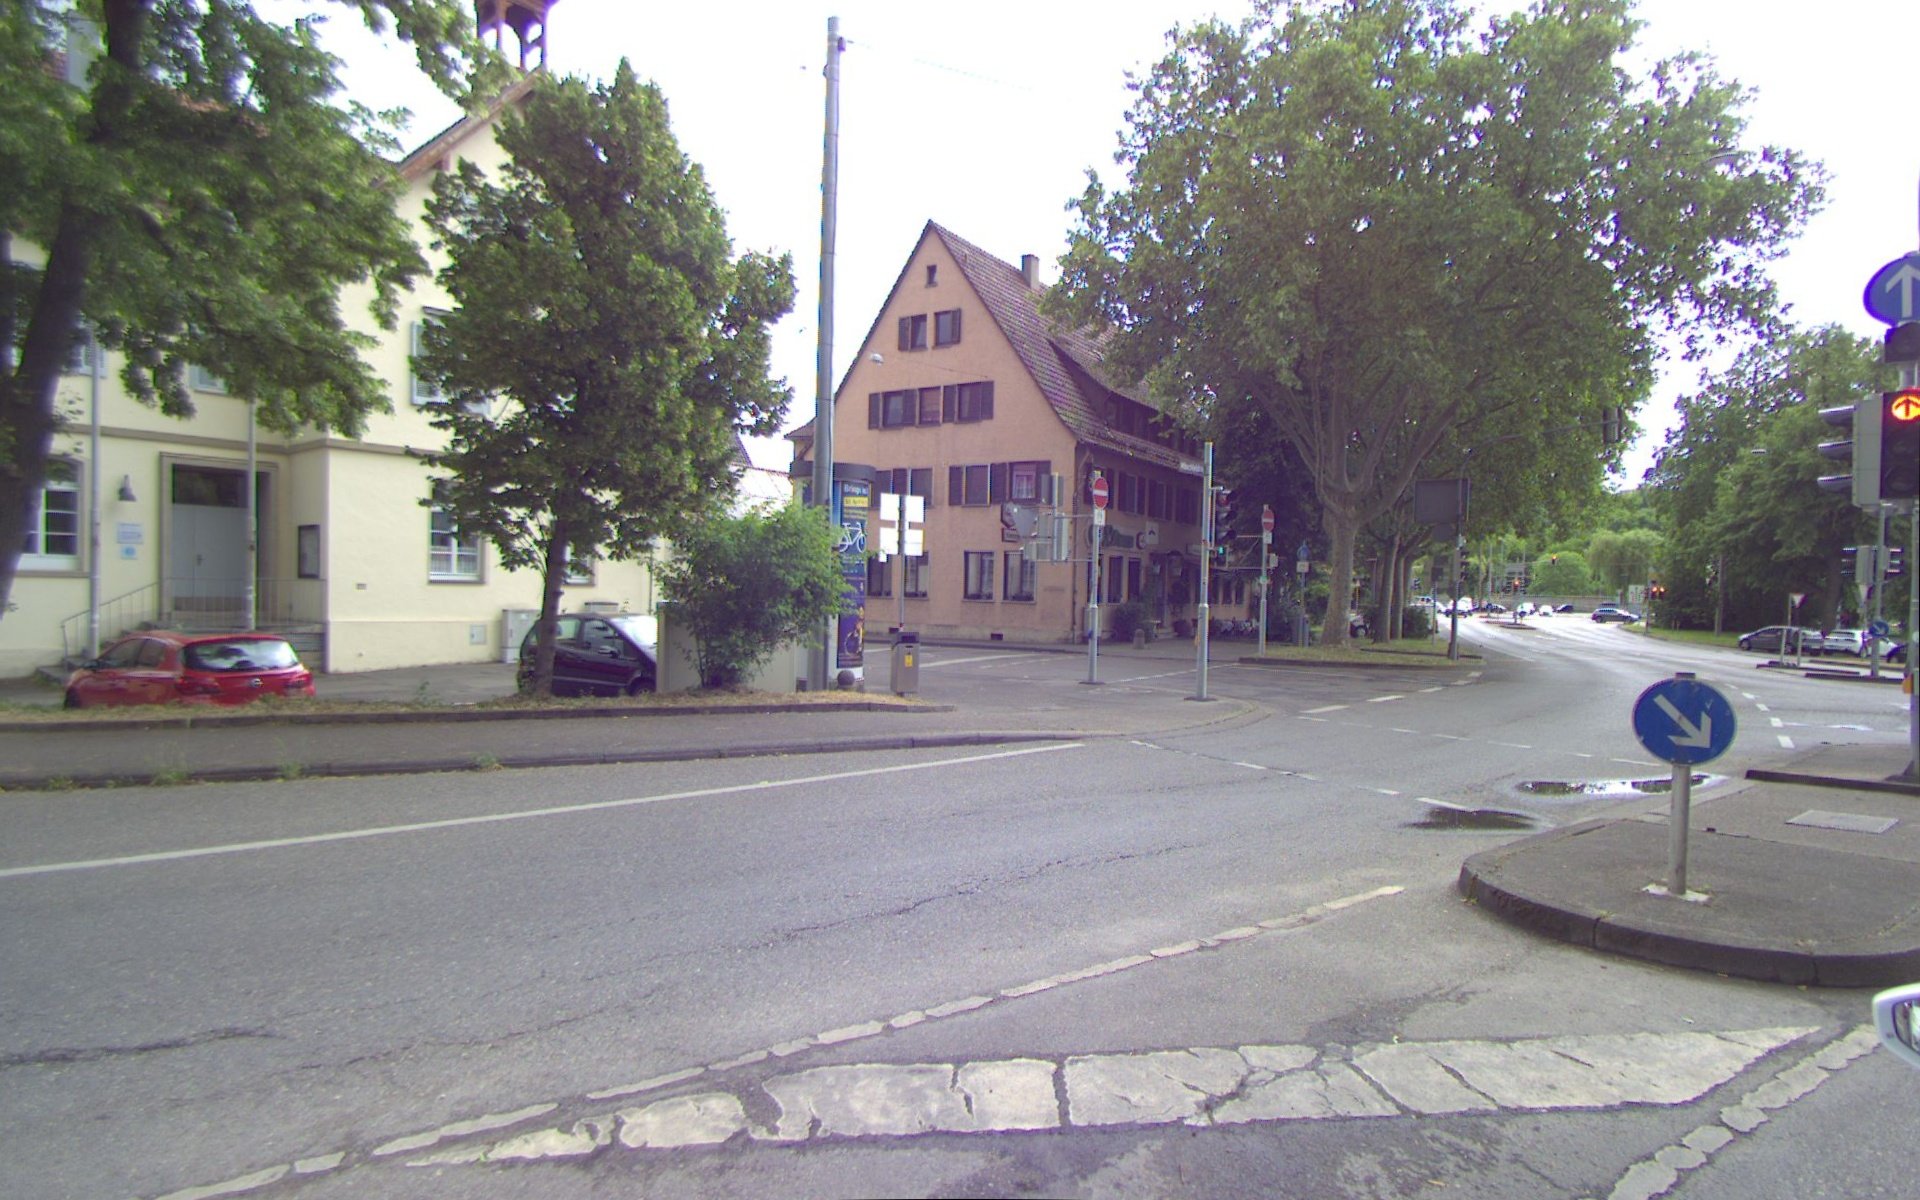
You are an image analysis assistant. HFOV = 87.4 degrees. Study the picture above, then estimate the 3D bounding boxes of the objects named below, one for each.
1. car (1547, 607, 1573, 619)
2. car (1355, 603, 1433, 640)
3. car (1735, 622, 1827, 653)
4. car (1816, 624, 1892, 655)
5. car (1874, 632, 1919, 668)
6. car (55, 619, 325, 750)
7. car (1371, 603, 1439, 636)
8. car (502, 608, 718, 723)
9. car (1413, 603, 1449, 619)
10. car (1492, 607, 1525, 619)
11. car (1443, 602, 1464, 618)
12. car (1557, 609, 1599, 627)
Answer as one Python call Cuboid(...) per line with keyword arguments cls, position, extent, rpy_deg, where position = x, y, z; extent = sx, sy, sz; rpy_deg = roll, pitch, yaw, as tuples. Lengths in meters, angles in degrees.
Cuboid(cls="car", position=(108.221, 2.324, 181.094), extent=(3.928, 2.040, 1.996), rpy_deg=(2, 0, 30))
Cuboid(cls="car", position=(21.407, 1.049, 49.582), extent=(3.387, 1.663, 1.570), rpy_deg=(2, 0, 28))
Cuboid(cls="car", position=(43.861, 1.970, 53.760), extent=(1.559, 1.484, 3.543), rpy_deg=(2, 0, -17))
Cuboid(cls="car", position=(47.300, 2.084, 53.161), extent=(3.342, 1.484, 1.543), rpy_deg=(2, 0, -19))
Cuboid(cls="car", position=(39.568, 2.079, 40.944), extent=(1.442, 1.412, 3.596), rpy_deg=(2, 0, 3))
Cuboid(cls="car", position=(-10.175, 1.013, 13.243), extent=(3.492, 1.397, 1.605), rpy_deg=(2, 0, 30))
Cuboid(cls="car", position=(25.467, 1.088, 57.466), extent=(3.387, 1.765, 1.570), rpy_deg=(2, 0, 28))
Cuboid(cls="car", position=(-5.764, 1.006, 16.591), extent=(3.035, 1.654, 1.607), rpy_deg=(2, 0, 22))
Cuboid(cls="car", position=(62.194, 1.471, 132.712), extent=(1.852, 2.040, 3.946), rpy_deg=(2, 0, -45))
Cuboid(cls="car", position=(81.634, 1.902, 149.554), extent=(3.945, 1.572, 1.857), rpy_deg=(2, 0, 45))
Cuboid(cls="car", position=(45.879, 0.963, 93.424), extent=(1.404, 1.435, 2.872), rpy_deg=(1, -1, 19))
Cuboid(cls="car", position=(72.806, 2.120, 118.388), extent=(1.852, 2.040, 3.946), rpy_deg=(2, 0, -45))
